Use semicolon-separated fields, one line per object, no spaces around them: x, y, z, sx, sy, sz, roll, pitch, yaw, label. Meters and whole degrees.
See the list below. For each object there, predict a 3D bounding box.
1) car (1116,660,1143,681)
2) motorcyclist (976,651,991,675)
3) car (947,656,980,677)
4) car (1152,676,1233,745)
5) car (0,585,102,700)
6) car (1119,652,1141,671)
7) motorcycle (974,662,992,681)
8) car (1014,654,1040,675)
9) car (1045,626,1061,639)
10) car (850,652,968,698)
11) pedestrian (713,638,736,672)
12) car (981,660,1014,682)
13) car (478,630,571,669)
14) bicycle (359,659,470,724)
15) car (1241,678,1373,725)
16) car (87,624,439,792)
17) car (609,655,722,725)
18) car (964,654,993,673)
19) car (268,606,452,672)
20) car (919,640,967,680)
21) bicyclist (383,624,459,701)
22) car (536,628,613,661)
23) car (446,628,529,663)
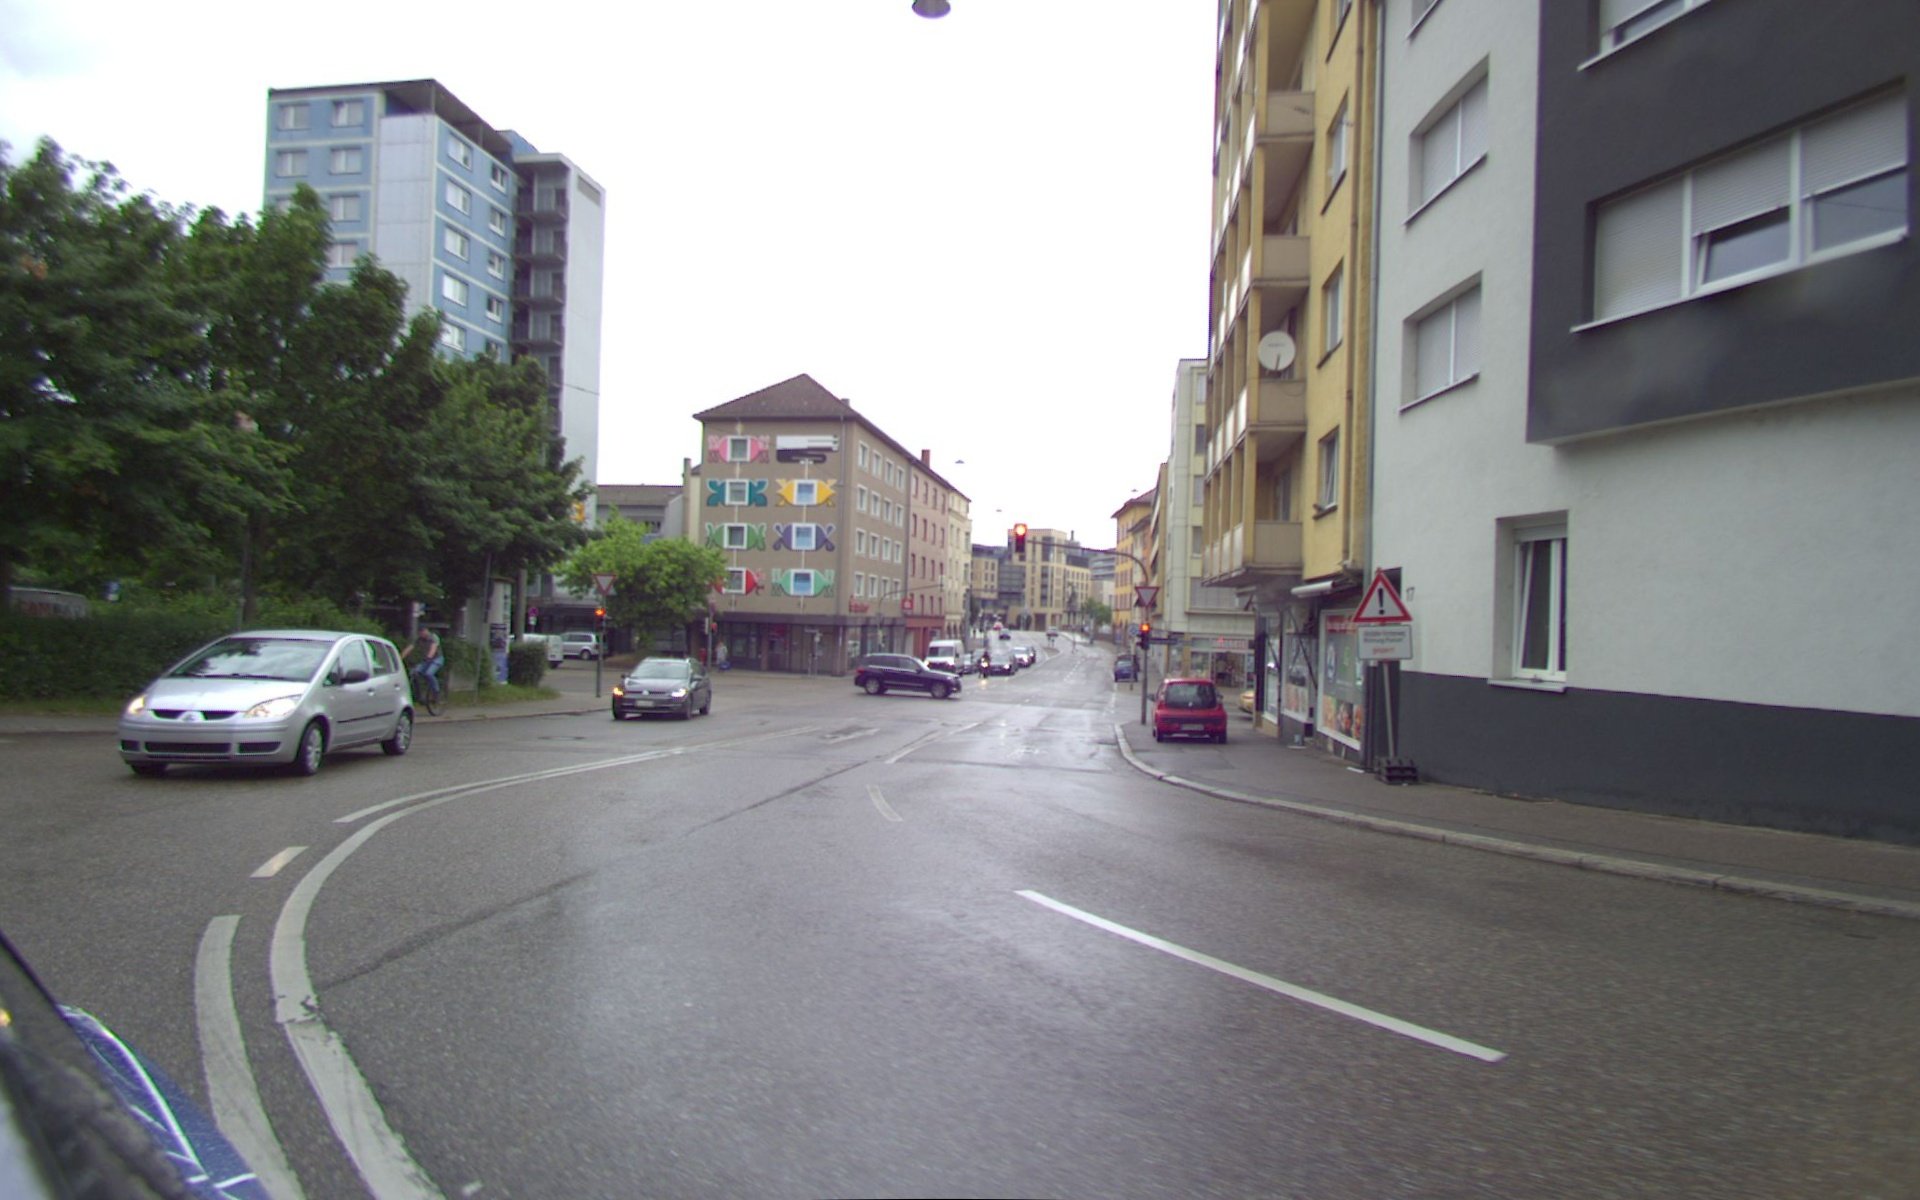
12.103;5.027;72.297;1.830;1.430;3.557;-1;-3;10;car
1.535;4.084;65.764;0.870;1.490;0.794;2;-2;10;motorcyclist
0.294;4.998;76.075;1.830;1.490;3.557;-1;-3;10;car
5.463;2.569;24.109;1.596;1.475;3.524;-1;-4;9;car
-18.419;0.767;18.814;4.174;1.975;1.628;1;-5;16;car
15.107;5.436;89.735;1.830;1.579;4.354;-1;-3;10;car
1.508;4.643;65.724;0.870;1.108;1.794;2;-2;10;motorcycle
5.740;5.456;86.480;1.830;1.728;3.557;-1;-3;10;car
14.614;5.112;158.892;1.823;1.721;4.372;2;0;-3;car
-2.047;3.052;41.528;4.528;1.591;1.986;2;-2;8;car
-12.909;3.024;55.574;0.893;1.787;0.815;2;-2;9;pedestrian
2.675;4.959;70.972;1.830;1.430;3.557;-1;-3;10;car
-23.442;2.653;54.528;4.188;1.869;1.983;2;-2;12;car
-11.221;1.858;20.908;0.878;1.196;2.129;4;-3;6;bicycle
13.385;3.920;39.313;4.531;1.452;1.985;2;-2;10;car
-7.591;1.119;11.542;1.661;1.516;3.845;3;-3;-7;car
-7.195;2.164;25.150;1.663;1.516;4.504;1;-3;-3;car
1.501;5.151;82.497;1.830;1.430;3.557;-1;-3;10;car
-16.655;1.117;28.195;4.160;1.634;1.634;2;-4;6;car
-1.079;3.984;67.911;2.208;2.543;5.452;0;-3;10;car
-11.171;1.301;21.002;0.878;1.501;0.966;4;-3;6;bicyclist
-23.829;2.755;62.673;4.140;1.678;1.646;3;0;10;car
-27.373;2.605;58.651;4.140;1.678;1.646;3;0;10;car
